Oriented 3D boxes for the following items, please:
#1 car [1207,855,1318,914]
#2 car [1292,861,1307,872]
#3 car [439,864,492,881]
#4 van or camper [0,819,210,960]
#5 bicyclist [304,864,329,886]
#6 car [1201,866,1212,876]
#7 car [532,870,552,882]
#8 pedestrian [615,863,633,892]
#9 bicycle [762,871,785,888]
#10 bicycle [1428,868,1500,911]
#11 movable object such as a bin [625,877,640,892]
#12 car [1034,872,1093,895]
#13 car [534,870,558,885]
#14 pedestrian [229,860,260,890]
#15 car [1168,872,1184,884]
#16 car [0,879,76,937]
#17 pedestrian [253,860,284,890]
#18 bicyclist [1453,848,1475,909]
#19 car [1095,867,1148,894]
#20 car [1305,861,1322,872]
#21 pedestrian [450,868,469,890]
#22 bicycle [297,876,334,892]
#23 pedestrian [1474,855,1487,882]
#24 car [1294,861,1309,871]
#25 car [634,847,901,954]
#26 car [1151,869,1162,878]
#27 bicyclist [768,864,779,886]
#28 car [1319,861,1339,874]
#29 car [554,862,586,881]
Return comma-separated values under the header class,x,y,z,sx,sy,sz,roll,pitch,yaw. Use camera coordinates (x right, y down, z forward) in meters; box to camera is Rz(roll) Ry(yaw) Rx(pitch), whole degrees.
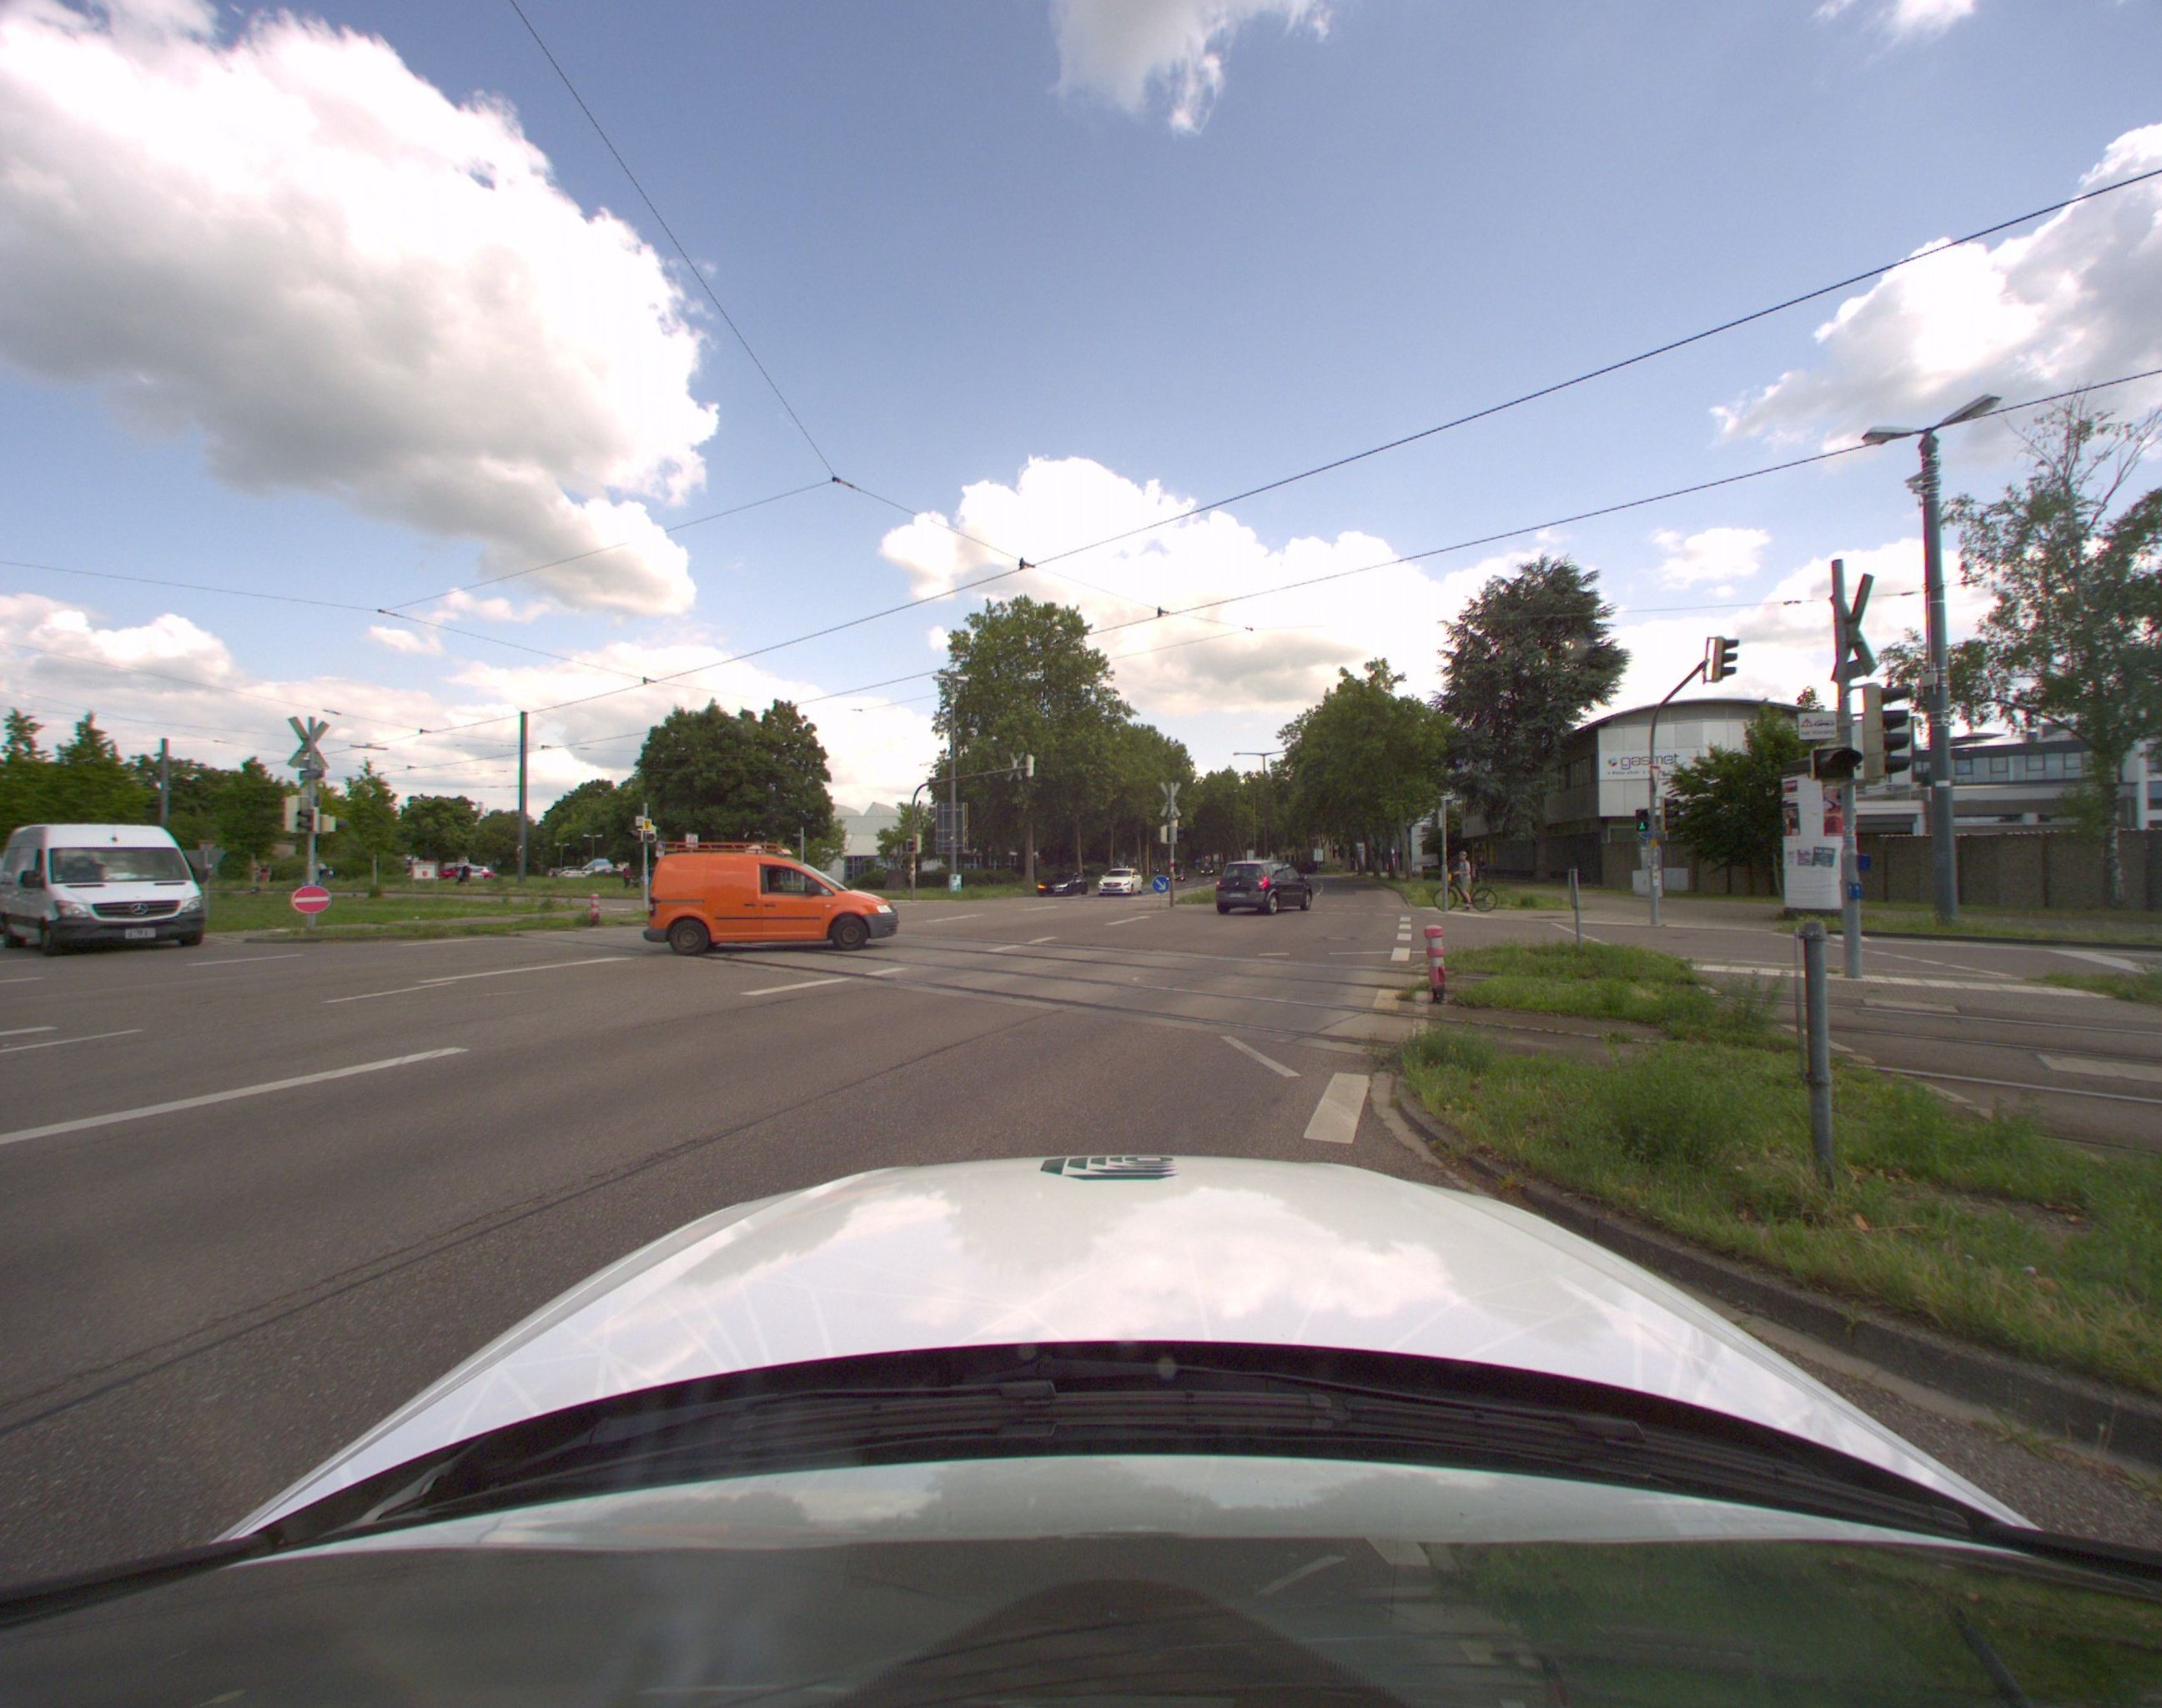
class,x,y,z,sx,sy,sz,roll,pitch,yaw
car,5.625,0.883,24.931,1.713,1.630,4.078,-2,-1,38
car,35.535,1.970,132.616,1.982,1.574,4.010,-1,1,8
car,-58.737,1.783,77.742,4.019,1.530,1.977,0,-1,-39
van or camper,-20.555,0.651,16.991,5.959,2.524,1.995,-1,0,31
bicyclist,-52.586,1.426,56.026,0.827,1.489,0.966,-1,-1,13
car,18.934,2.540,123.013,1.646,1.271,3.781,-1,1,9
car,-76.609,3.175,115.680,2.010,1.640,4.340,0,-1,-39
pedestrian,-26.028,1.343,46.396,0.632,1.644,0.615,-1,1,12
bicycle,-21.515,1.776,57.027,1.370,1.130,0.563,0,-2,2
bicycle,11.565,1.052,24.615,1.927,1.235,0.544,-1,1,29
movable object such as a bin,-25.524,1.735,46.308,0.455,0.811,0.581,-1,1,11
car,-0.894,1.578,44.281,1.619,1.192,3.730,-1,-1,27
car,-64.906,2.832,98.756,2.010,1.640,4.340,0,-1,-39
pedestrian,-57.243,1.435,55.733,1.163,2.014,1.112,-1,-1,20
car,10.181,2.543,87.050,1.626,1.192,3.715,0,-1,6
car,-29.187,1.420,21.816,4.414,1.431,1.822,-1,-1,25
pedestrian,-56.768,1.460,56.875,1.163,2.014,1.112,-1,-1,20
bicyclist,11.570,0.740,24.605,0.538,1.809,0.544,-1,1,29
car,2.254,1.409,43.906,1.810,1.364,4.157,-1,-1,18
car,35.428,1.897,124.140,1.982,1.574,4.010,-1,1,8
pedestrian,-39.733,1.576,52.061,0.743,1.354,0.655,-1,1,26
bicycle,-52.647,2.076,56.023,1.963,1.040,0.955,-1,-1,14
pedestrian,23.297,0.847,47.486,0.615,1.569,0.562,-1,1,19
car,38.747,2.061,143.077,1.982,1.574,4.010,-1,1,8
car,-5.601,0.790,15.144,4.358,1.800,1.877,0,-1,-12
car,16.078,4.145,173.441,1.986,2.014,4.001,0,-1,1
bicyclist,-21.525,1.484,57.031,0.552,1.554,0.487,1,-1,2
car,34.115,1.902,112.186,1.982,1.574,4.010,-1,1,8
car,-46.173,1.571,73.552,2.010,1.640,4.340,0,-1,-39
